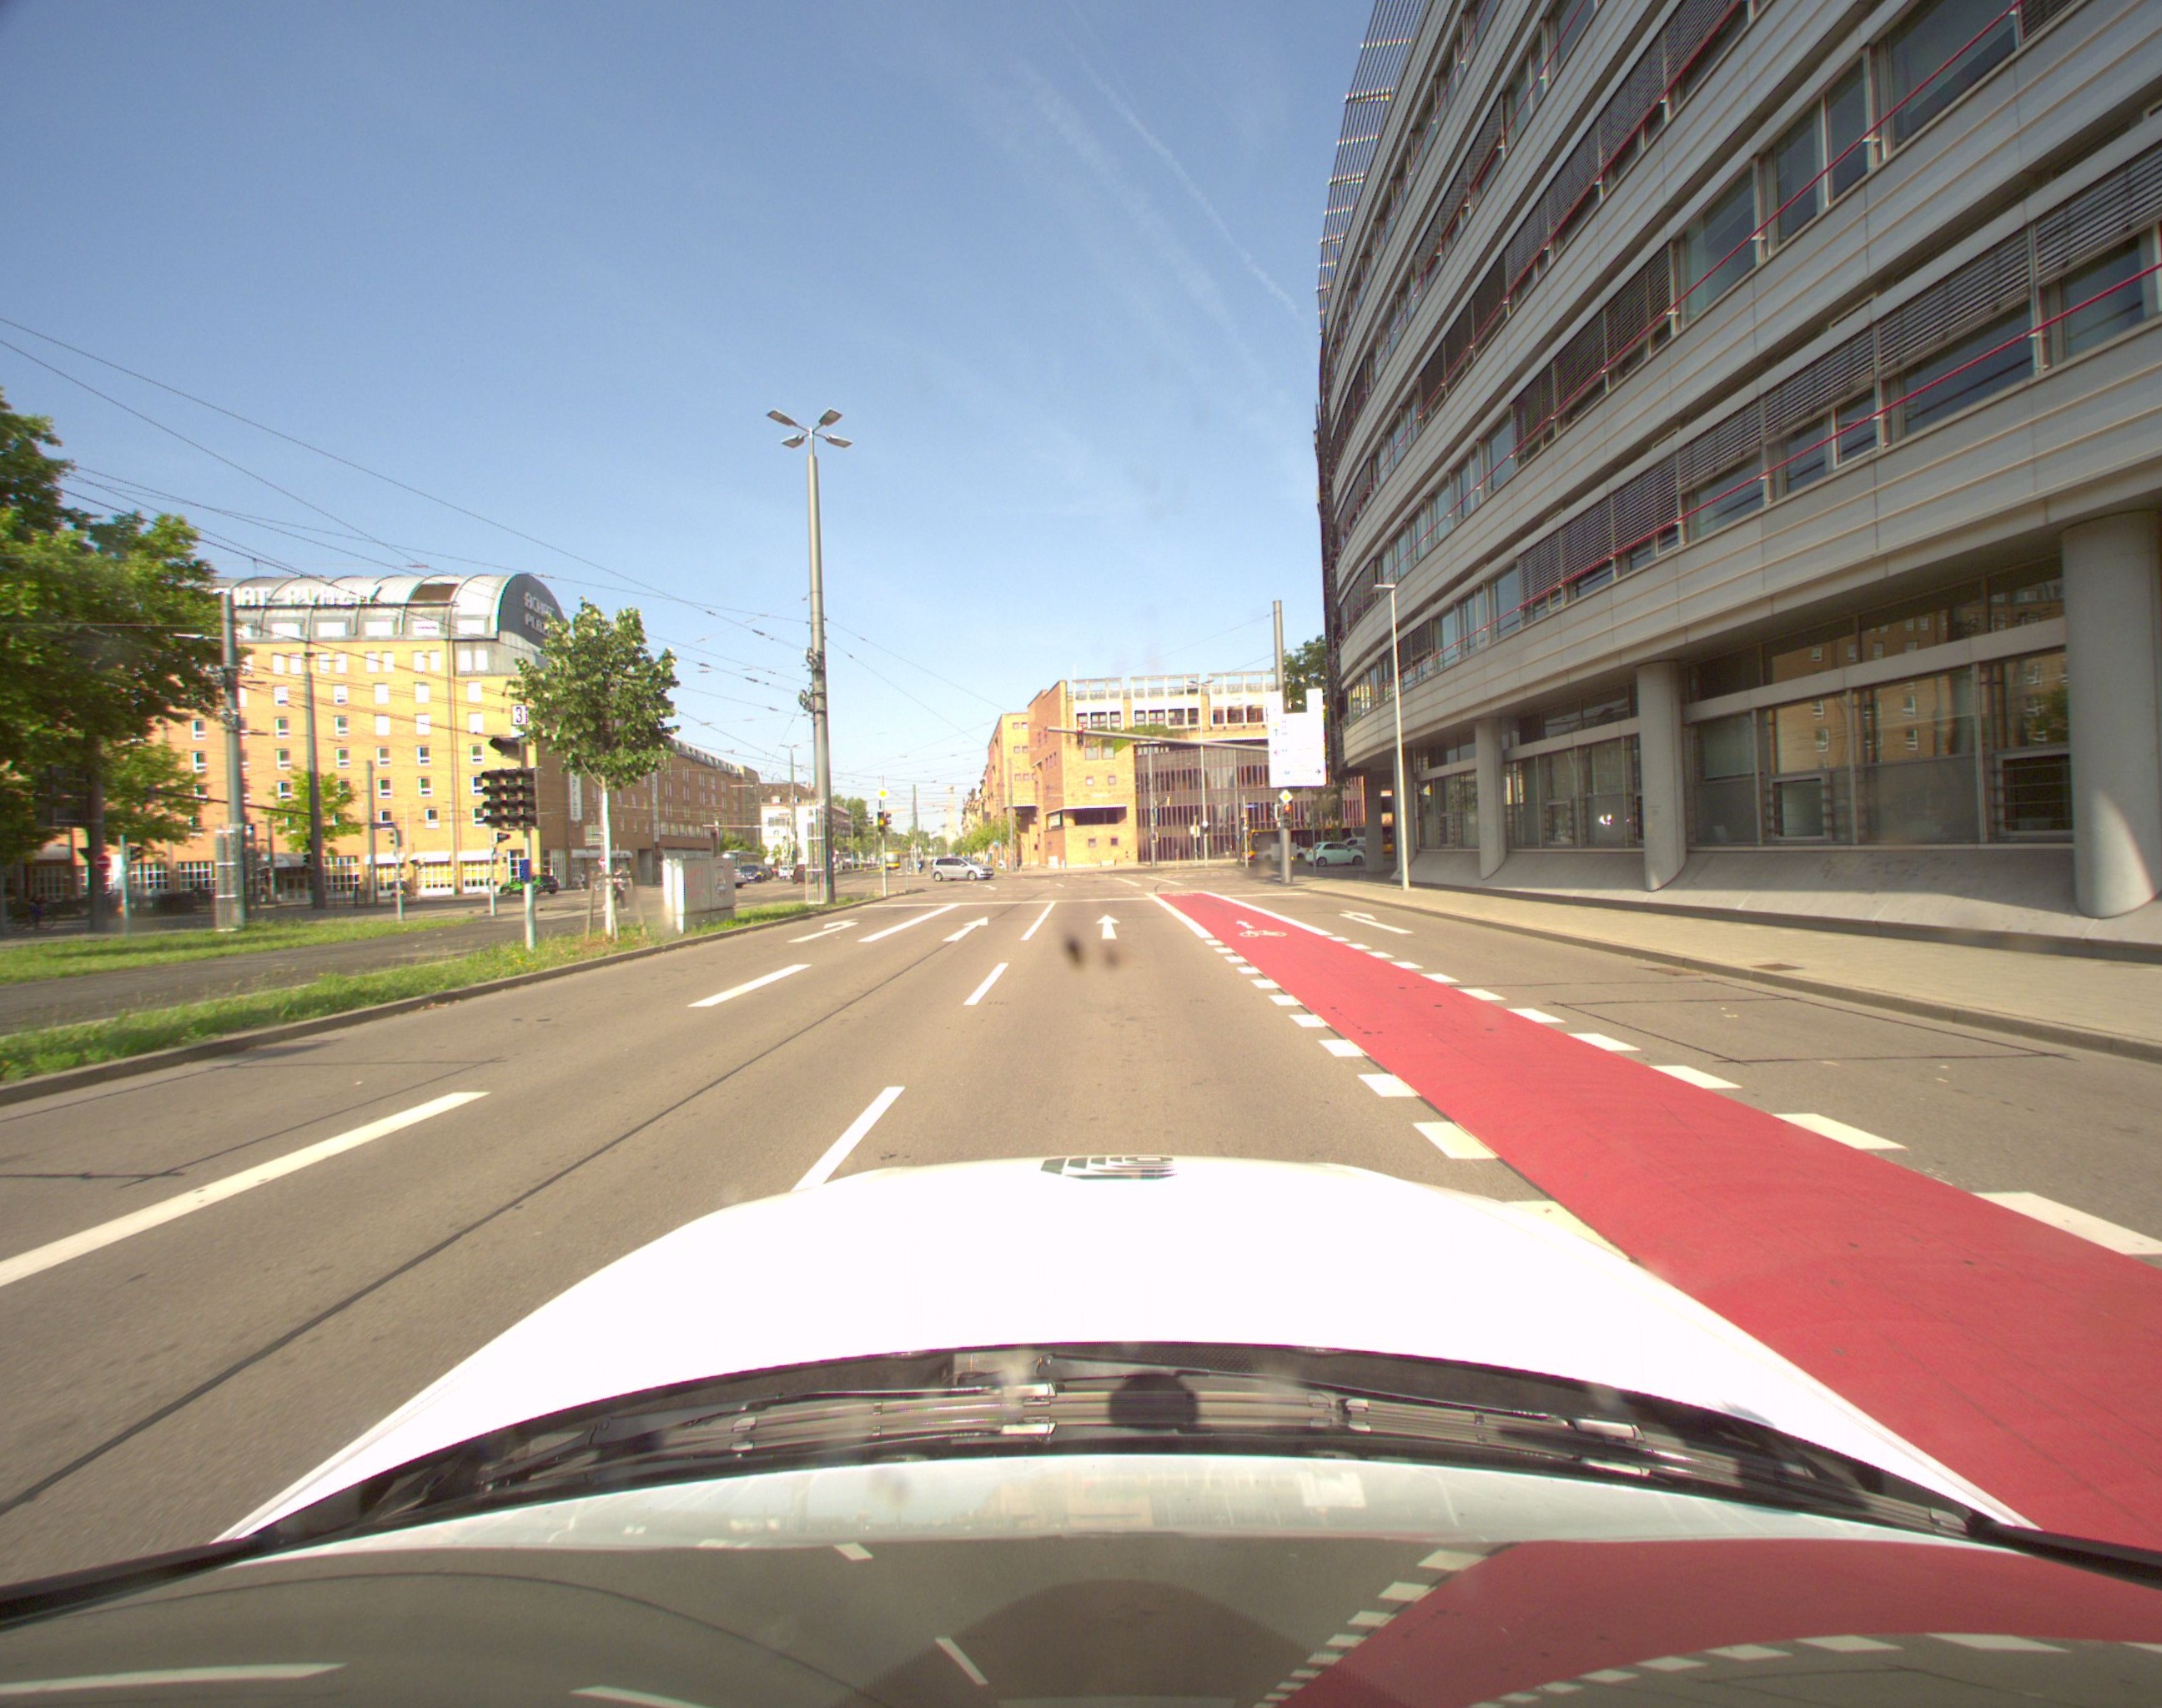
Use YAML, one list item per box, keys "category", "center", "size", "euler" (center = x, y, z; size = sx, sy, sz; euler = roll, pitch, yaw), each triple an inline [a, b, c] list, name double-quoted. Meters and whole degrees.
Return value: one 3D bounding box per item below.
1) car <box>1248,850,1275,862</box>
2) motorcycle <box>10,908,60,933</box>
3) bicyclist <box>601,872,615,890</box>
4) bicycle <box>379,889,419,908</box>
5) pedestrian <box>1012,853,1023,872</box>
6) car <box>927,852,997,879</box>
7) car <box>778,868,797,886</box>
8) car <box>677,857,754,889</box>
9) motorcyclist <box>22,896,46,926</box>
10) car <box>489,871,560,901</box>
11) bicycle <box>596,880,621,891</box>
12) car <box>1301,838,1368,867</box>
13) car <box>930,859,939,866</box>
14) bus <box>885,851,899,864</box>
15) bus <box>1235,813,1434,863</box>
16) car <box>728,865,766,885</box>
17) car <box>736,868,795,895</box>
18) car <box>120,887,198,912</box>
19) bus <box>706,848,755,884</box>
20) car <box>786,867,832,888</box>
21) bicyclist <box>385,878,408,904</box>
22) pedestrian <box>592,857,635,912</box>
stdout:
- category: "car"
  center: [15.221, 0.164, 68.710]
  size: [1.946, 0.958, 1.092]
  euler: [0, -2, -3]
- category: "motorcycle"
  center: [-47.384, 3.009, 36.895]
  size: [1.688, 0.995, 0.283]
  euler: [-2, -2, -7]
- category: "bicyclist"
  center: [-44.762, 2.581, 77.088]
  size: [0.988, 1.695, 0.667]
  euler: [-2, -2, -14]
- category: "bicycle"
  center: [-46.454, 3.039, 55.473]
  size: [0.545, 1.206, 2.292]
  euler: [-3, -1, 8]
- category: "pedestrian"
  center: [-6.851, 0.886, 87.481]
  size: [0.834, 2.013, 0.814]
  euler: [-2, 0, 15]
- category: "car"
  center: [-7.885, 0.764, 53.927]
  size: [4.336, 1.634, 1.701]
  euler: [-2, 2, 27]
- category: "car"
  center: [-34.498, 2.696, 95.747]
  size: [1.602, 2.014, 2.720]
  euler: [-2, -2, -10]
- category: "car"
  center: [-25.368, 1.343, 56.545]
  size: [4.565, 2.013, 2.009]
  euler: [-2, 0, 17]
- category: "motorcyclist"
  center: [-47.435, 2.597, 36.898]
  size: [0.530, 1.322, 0.417]
  euler: [-2, -2, -7]
- category: "car"
  center: [-42.297, 2.421, 61.952]
  size: [3.969, 2.014, 2.002]
  euler: [-2, -2, 4]
- category: "bicycle"
  center: [-44.706, 2.942, 77.089]
  size: [1.963, 0.970, 0.418]
  euler: [-2, -2, -15]
- category: "car"
  center: [15.536, -0.082, 50.012]
  size: [3.434, 1.542, 1.730]
  euler: [-2, -2, -8]
- category: "car"
  center: [-34.670, 2.014, 192.839]
  size: [2.074, 1.542, 4.397]
  euler: [-2, -1, -11]
- category: "bus"
  center: [-30.793, 0.625, 132.629]
  size: [1.995, 2.013, 3.983]
  euler: [-2, 0, -12]
- category: "bus"
  center: [22.927, -1.465, 73.752]
  size: [17.604, 3.811, 2.856]
  euler: [-2, -2, -9]
- category: "car"
  center: [-29.192, 1.857, 71.117]
  size: [2.001, 1.635, 4.364]
  euler: [-1, -1, -37]
- category: "car"
  center: [-23.471, 2.046, 60.580]
  size: [3.843, 1.755, 1.720]
  euler: [-3, -1, 22]
- category: "car"
  center: [-70.623, 3.480, 62.421]
  size: [3.603, 1.624, 1.866]
  euler: [-2, 0, -3]
- category: "bus"
  center: [-41.112, 1.541, 95.968]
  size: [2.748, 3.921, 12.167]
  euler: [-2, -1, -11]
- category: "car"
  center: [-20.750, 1.801, 62.035]
  size: [3.557, 1.492, 1.713]
  euler: [-3, -1, 41]
- category: "bicyclist"
  center: [-46.507, 2.490, 55.366]
  size: [0.661, 1.747, 0.969]
  euler: [-3, -2, 7]
- category: "pedestrian"
  center: [-17.700, 1.164, 30.860]
  size: [1.153, 2.014, 0.775]
  euler: [-2, -2, -5]
